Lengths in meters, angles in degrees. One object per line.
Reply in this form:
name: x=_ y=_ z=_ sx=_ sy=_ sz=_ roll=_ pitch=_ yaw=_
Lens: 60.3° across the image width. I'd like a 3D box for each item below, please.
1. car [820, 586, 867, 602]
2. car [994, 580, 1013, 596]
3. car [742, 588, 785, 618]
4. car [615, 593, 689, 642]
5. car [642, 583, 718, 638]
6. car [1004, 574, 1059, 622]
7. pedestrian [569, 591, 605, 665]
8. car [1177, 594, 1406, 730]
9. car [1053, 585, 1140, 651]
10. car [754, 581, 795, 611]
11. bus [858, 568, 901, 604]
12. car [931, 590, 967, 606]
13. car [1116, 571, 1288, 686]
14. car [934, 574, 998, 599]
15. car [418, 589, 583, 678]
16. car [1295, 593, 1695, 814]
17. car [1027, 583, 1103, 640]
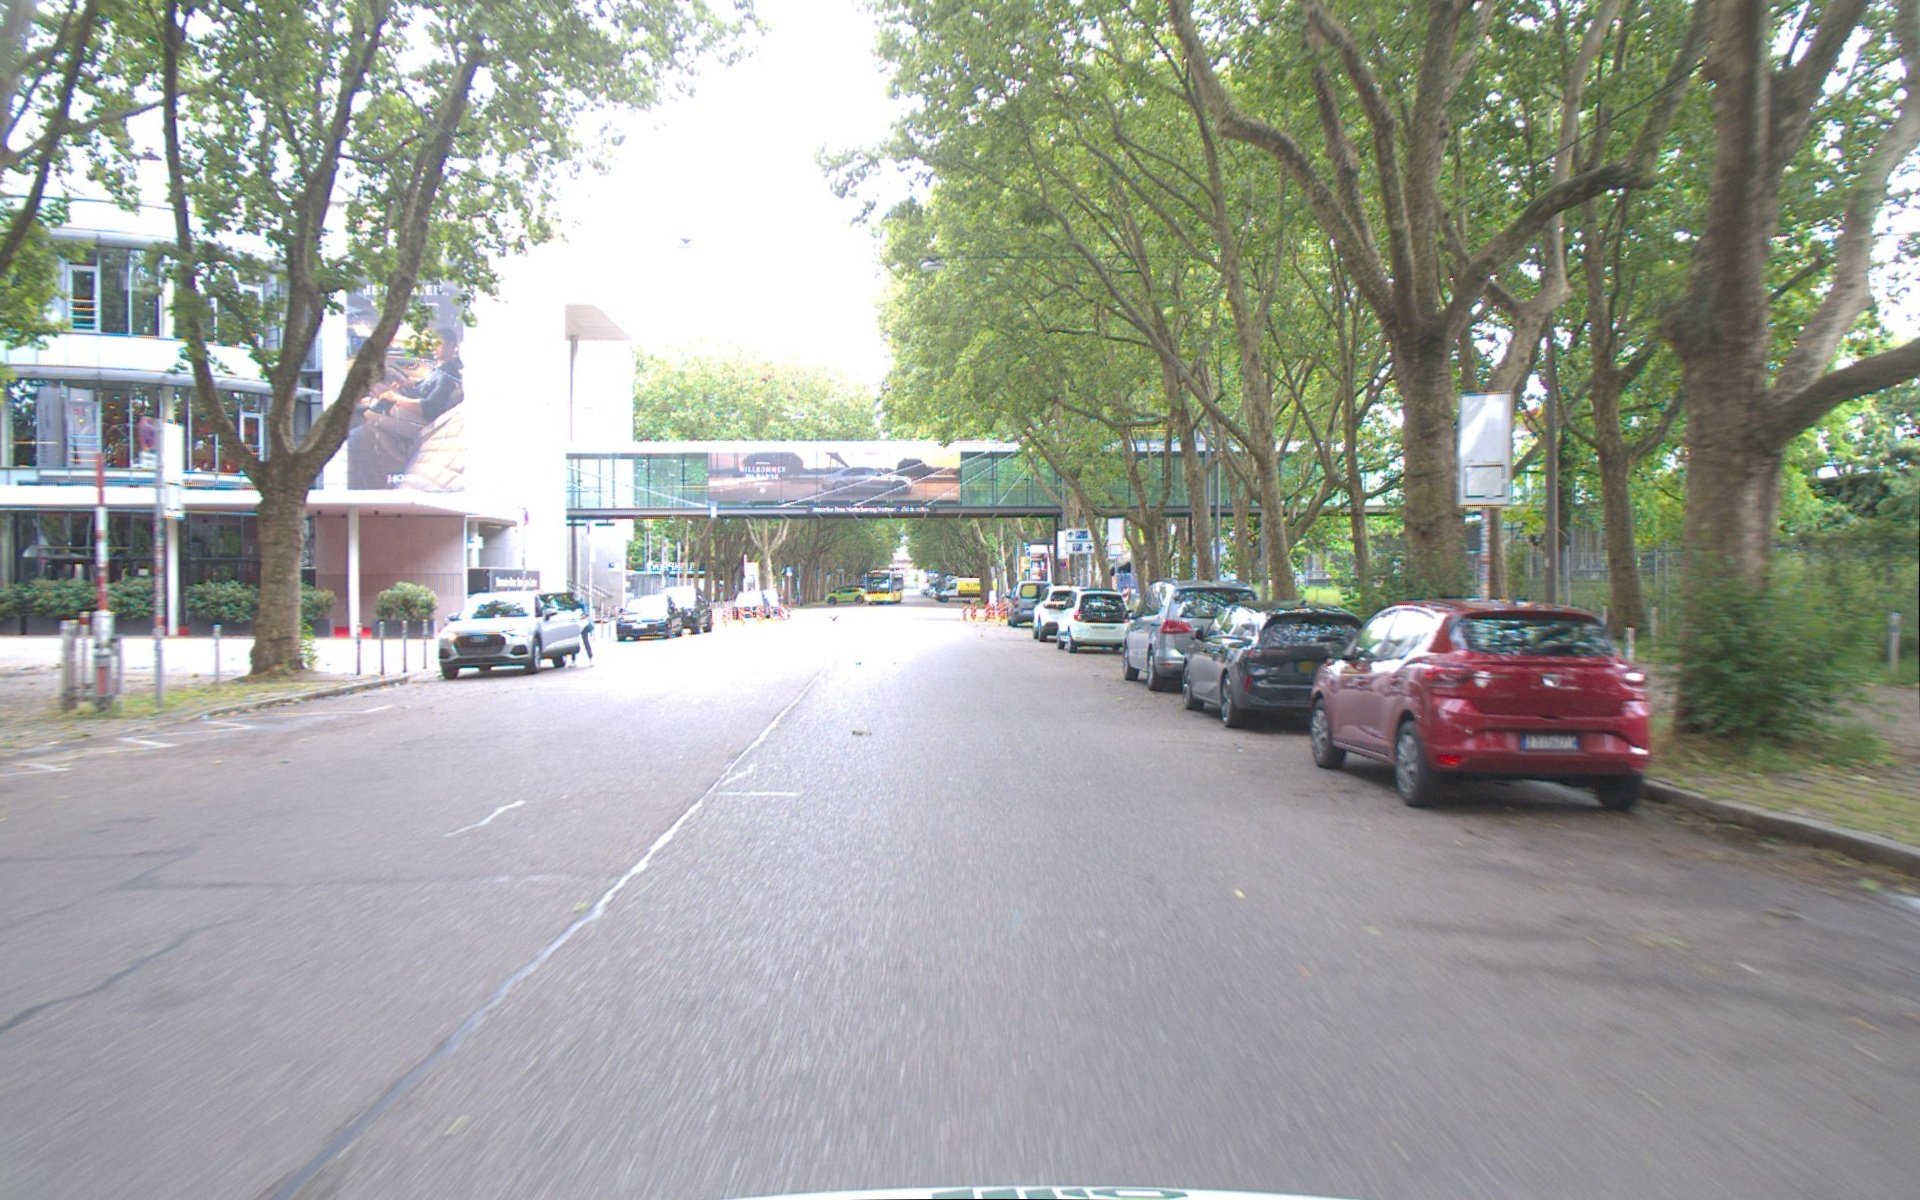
car: x=-11.639 y=-0.597 z=165.784 sx=4.604 sy=1.612 sz=1.864 roll=0 pitch=0 yaw=-1
car: x=4.967 y=-1.328 z=189.362 sx=1.953 sy=1.803 sz=3.999 roll=0 pitch=0 yaw=-1
car: x=-10.695 y=0.134 z=90.294 sx=1.821 sy=1.478 sz=4.447 roll=-3 pitch=1 yaw=-1
car: x=-10.319 y=0.562 z=55.682 sx=1.670 sy=1.444 sz=4.324 roll=-3 pitch=1 yaw=-1
car: x=-10.357 y=0.347 z=61.610 sx=1.993 sy=1.820 sz=4.907 roll=-3 pitch=1 yaw=-1
car: x=2.827 y=-0.088 z=66.096 sx=1.810 sy=1.814 sz=5.209 roll=1 pitch=0 yaw=-1
pedestrian: x=-7.680 y=0.568 z=34.079 sx=0.571 sy=1.492 sz=0.567 roll=1 pitch=0 yaw=2
car: x=3.905 y=0.666 z=20.237 sx=1.839 sy=1.452 sz=4.479 roll=0 pitch=1 yaw=-1
car: x=3.383 y=0.424 z=41.687 sx=1.771 sy=1.553 sz=4.095 roll=0 pitch=0 yaw=-1
car: x=-11.121 y=-0.258 z=99.357 sx=1.953 sy=1.612 sz=4.112 roll=-3 pitch=1 yaw=-1
bus: x=-7.636 y=-1.315 z=158.828 sx=2.976 sy=3.215 sz=12.680 roll=-2 pitch=0 yaw=2
car: x=-1.210 y=-0.213 z=183.700 sx=3.907 sy=1.825 sz=1.542 roll=0 pitch=0 yaw=-3
car: x=3.854 y=0.412 z=27.136 sx=1.942 sy=1.709 sz=4.729 roll=0 pitch=0 yaw=-2
car: x=0.637 y=-1.446 z=176.304 sx=6.688 sy=2.557 sz=2.315 roll=-1 pitch=1 yaw=-4
car: x=-8.987 y=0.603 z=32.802 sx=2.031 sy=1.590 sz=4.755 roll=0 pitch=1 yaw=-1
car: x=4.140 y=0.706 z=13.570 sx=1.819 sy=1.507 sz=4.176 roll=0 pitch=0 yaw=-2
car: x=3.123 y=0.323 z=49.861 sx=1.875 sy=1.646 sz=4.748 roll=0 pitch=0 yaw=-1
